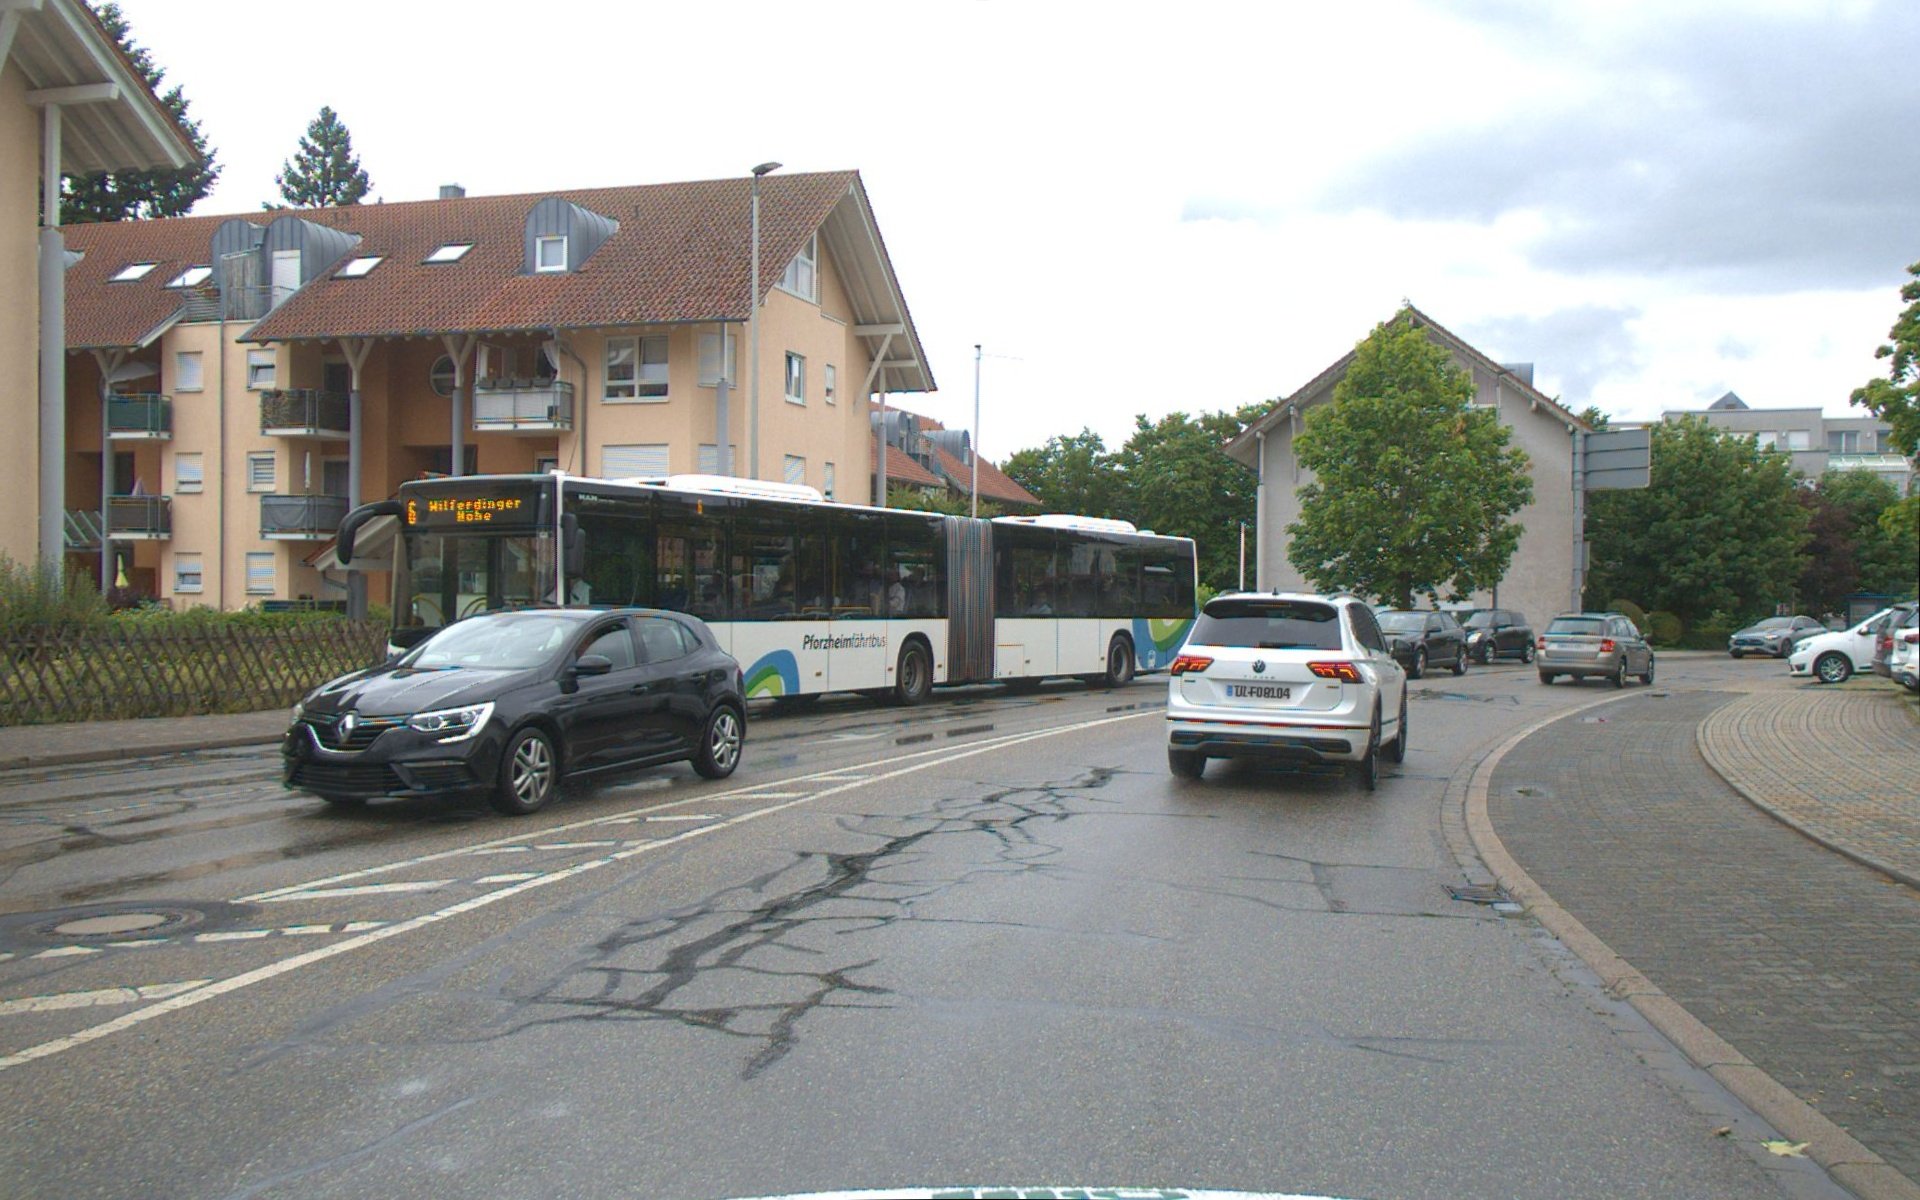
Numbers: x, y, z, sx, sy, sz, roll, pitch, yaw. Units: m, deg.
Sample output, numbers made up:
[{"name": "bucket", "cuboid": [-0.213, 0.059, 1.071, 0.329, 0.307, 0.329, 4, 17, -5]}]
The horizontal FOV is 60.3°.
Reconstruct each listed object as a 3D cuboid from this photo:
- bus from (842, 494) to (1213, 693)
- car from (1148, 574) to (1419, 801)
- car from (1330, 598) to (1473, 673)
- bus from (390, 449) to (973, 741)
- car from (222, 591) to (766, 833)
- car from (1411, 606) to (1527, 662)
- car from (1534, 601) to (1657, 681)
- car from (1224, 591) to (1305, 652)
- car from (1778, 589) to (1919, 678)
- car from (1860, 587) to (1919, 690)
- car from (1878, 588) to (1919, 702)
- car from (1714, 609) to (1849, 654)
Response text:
[{"name": "bus", "cuboid": [1.504, -0.095, 29.516, 2.541, 3.053, 8.377, -1, 0, 34]}, {"name": "car", "cuboid": [3.179, 0.683, 15.547, 1.881, 1.752, 4.266, 2, 1, 19]}, {"name": "car", "cuboid": [9.815, 0.750, 36.536, 1.827, 1.545, 4.280, 0, -1, 33]}, {"name": "bus", "cuboid": [-3.088, -0.050, 21.946, 2.498, 3.053, 9.190, -1, 0, 28]}, {"name": "car", "cuboid": [-3.371, 0.731, 12.883, 1.911, 1.545, 4.174, -1, 0, 22]}, {"name": "car", "cuboid": [13.917, 0.904, 45.109, 1.565, 1.447, 3.670, -1, 0, 44]}, {"name": "car", "cuboid": [13.386, 0.892, 34.722, 1.733, 1.536, 3.991, 2, -2, 31]}, {"name": "car", "cuboid": [9.338, 0.681, 50.561, 1.952, 1.680, 4.002, 2, -2, 17]}, {"name": "car", "cuboid": [18.752, 0.628, 32.964, 4.257, 1.624, 1.763, -4, -2, 28]}, {"name": "car", "cuboid": [16.923, 0.527, 26.652, 3.961, 1.624, 1.905, -4, -2, 21]}, {"name": "car", "cuboid": [15.764, 0.548, 23.946, 3.960, 1.624, 1.896, -4, -2, 20]}, {"name": "car", "cuboid": [27.848, 1.038, 56.031, 4.423, 1.415, 1.891, 0, 2, -28]}]
